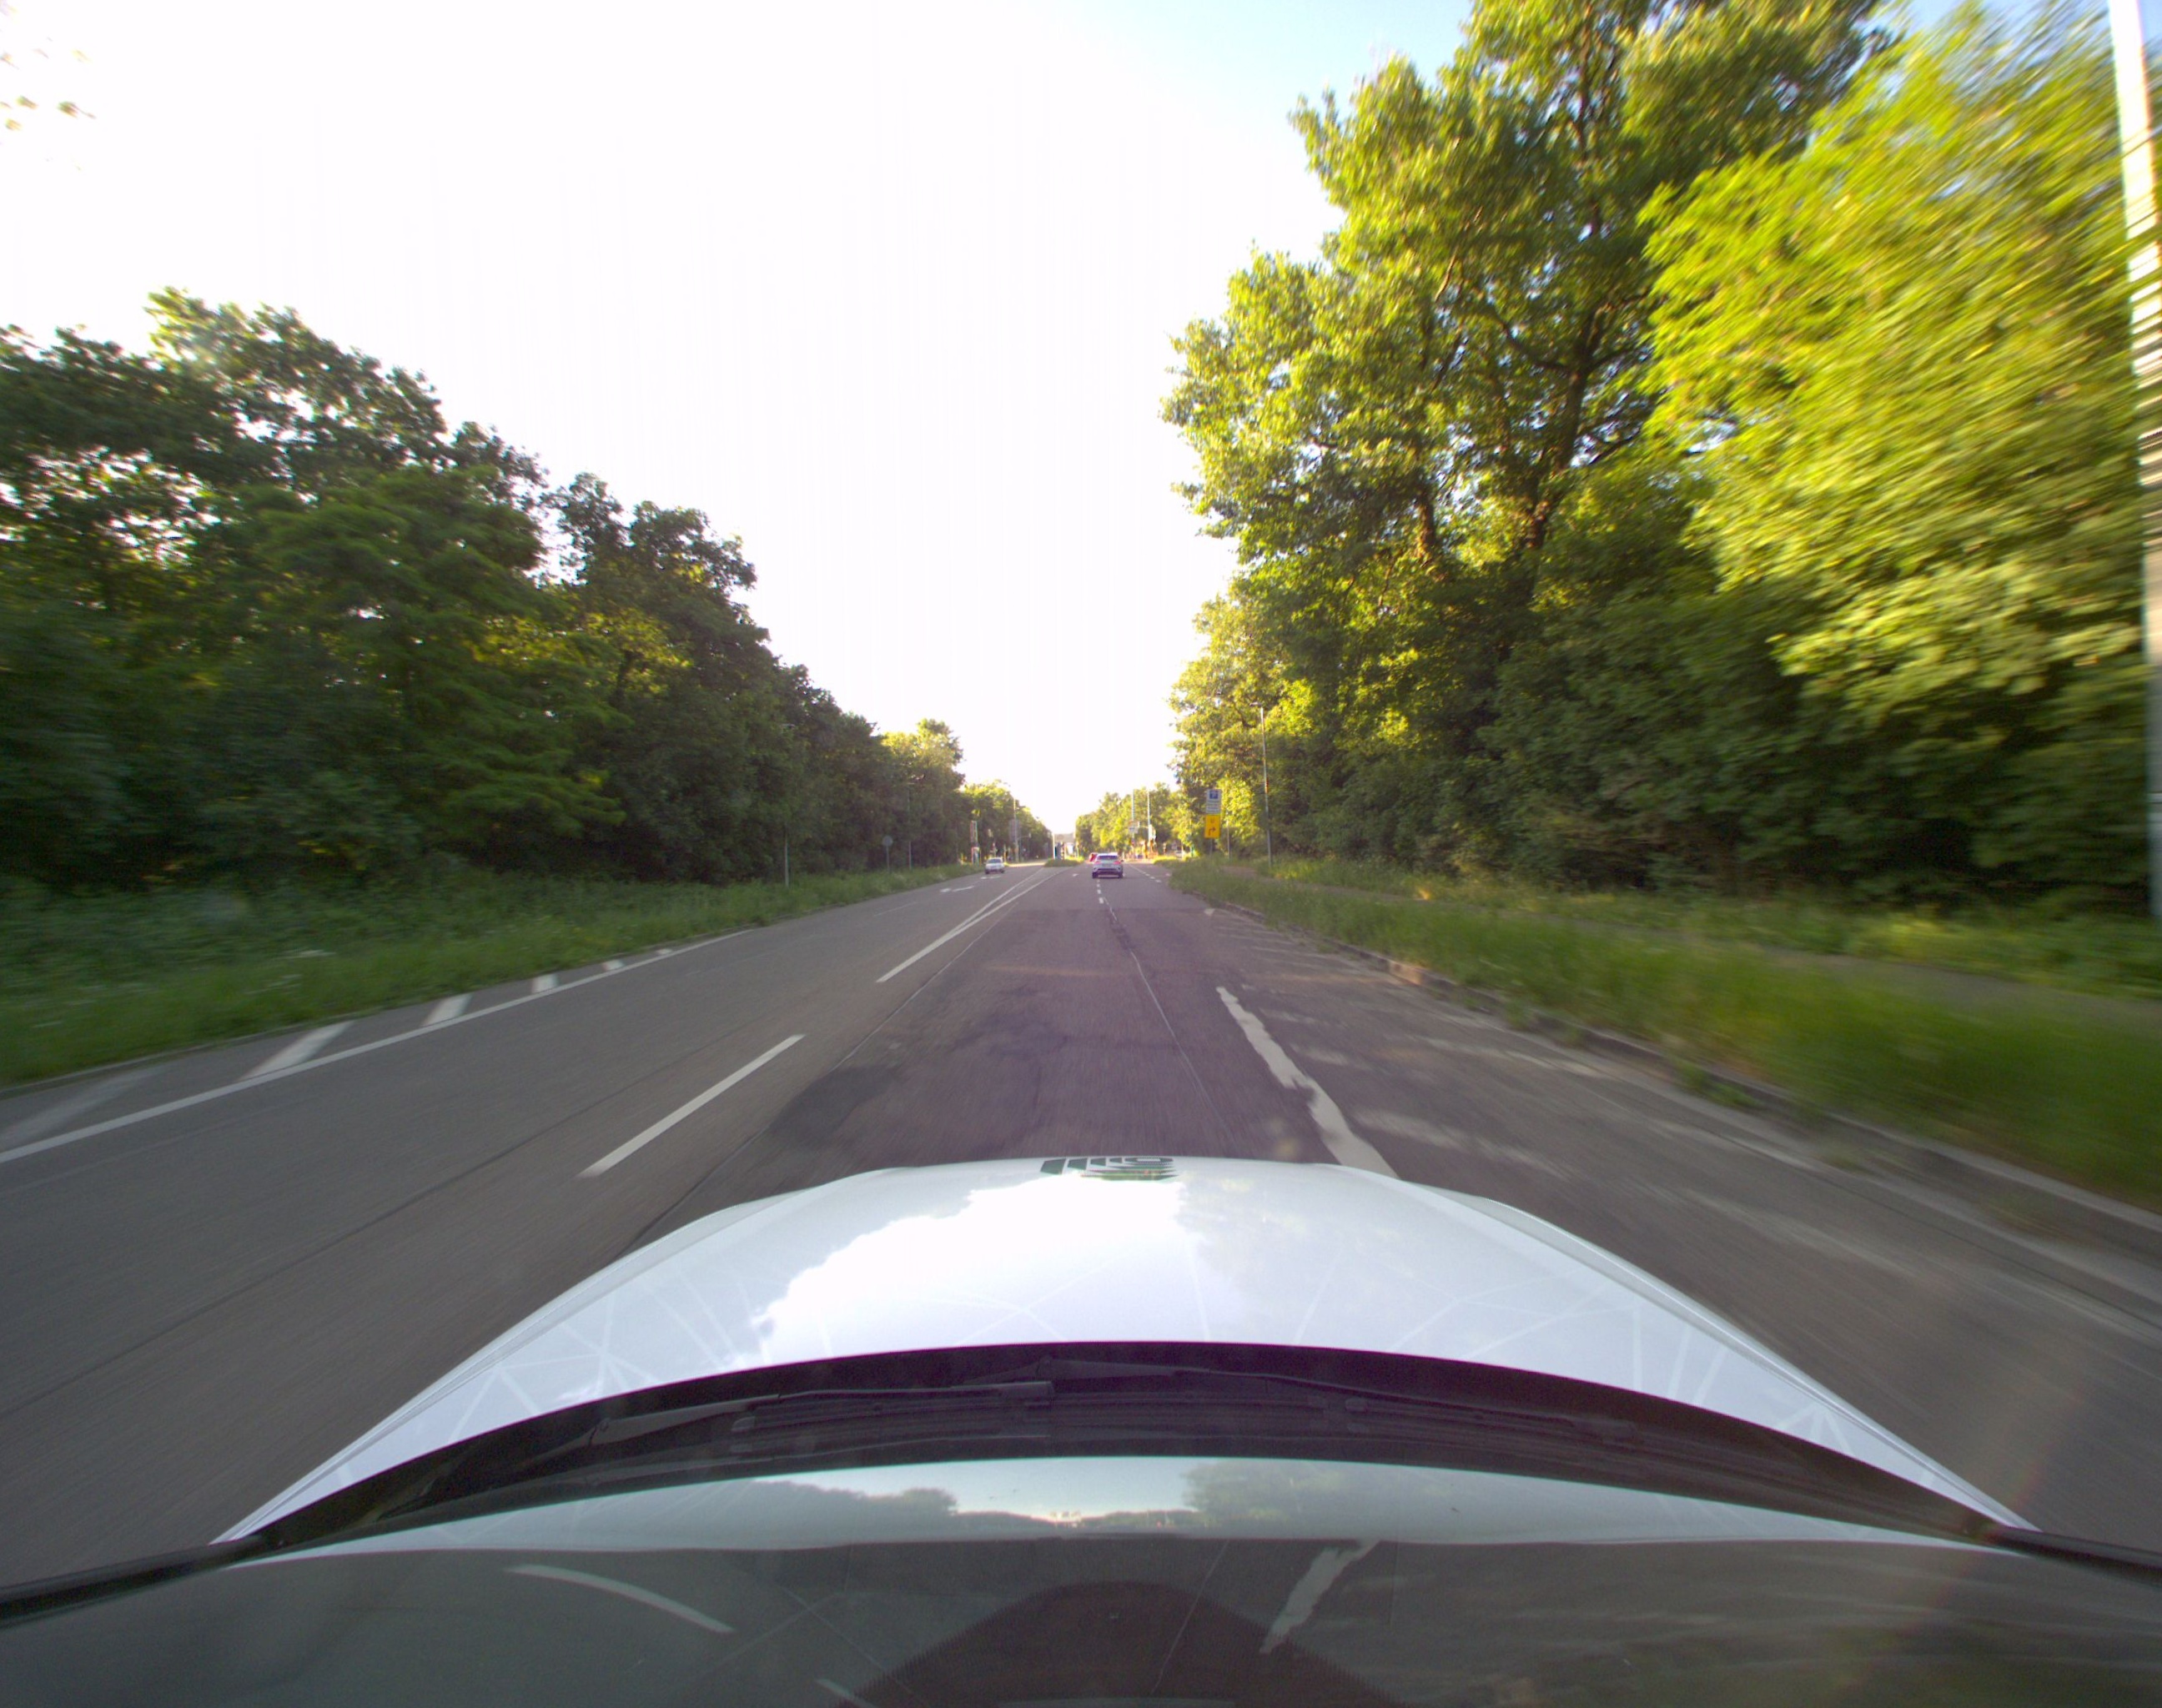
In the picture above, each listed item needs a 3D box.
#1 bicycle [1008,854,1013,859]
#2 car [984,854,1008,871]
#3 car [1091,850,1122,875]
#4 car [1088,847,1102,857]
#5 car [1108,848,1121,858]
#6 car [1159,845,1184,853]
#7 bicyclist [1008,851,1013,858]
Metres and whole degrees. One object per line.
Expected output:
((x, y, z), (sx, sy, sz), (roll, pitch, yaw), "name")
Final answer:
((-13.982, 0.470, 161.221), (0.711, 0.914, 1.913), (-2, 0, 5), "bicycle")
((-8.032, 0.766, 77.186), (1.824, 1.455, 4.476), (-4, 1, -3), "car")
((1.552, 0.474, 49.991), (1.856, 1.444, 4.001), (-1, 0, 1), "car")
((2.257, -0.319, 133.835), (1.989, 1.684, 3.996), (-2, 0, -3), "car")
((5.124, -0.133, 126.213), (1.932, 1.414, 4.002), (-2, 0, 2), "car")
((18.797, -1.003, 169.542), (4.835, 1.580, 1.986), (-2, 0, -21), "car")
((-13.995, 0.036, 161.216), (0.711, 1.355, 0.992), (-2, 0, 5), "bicyclist")
